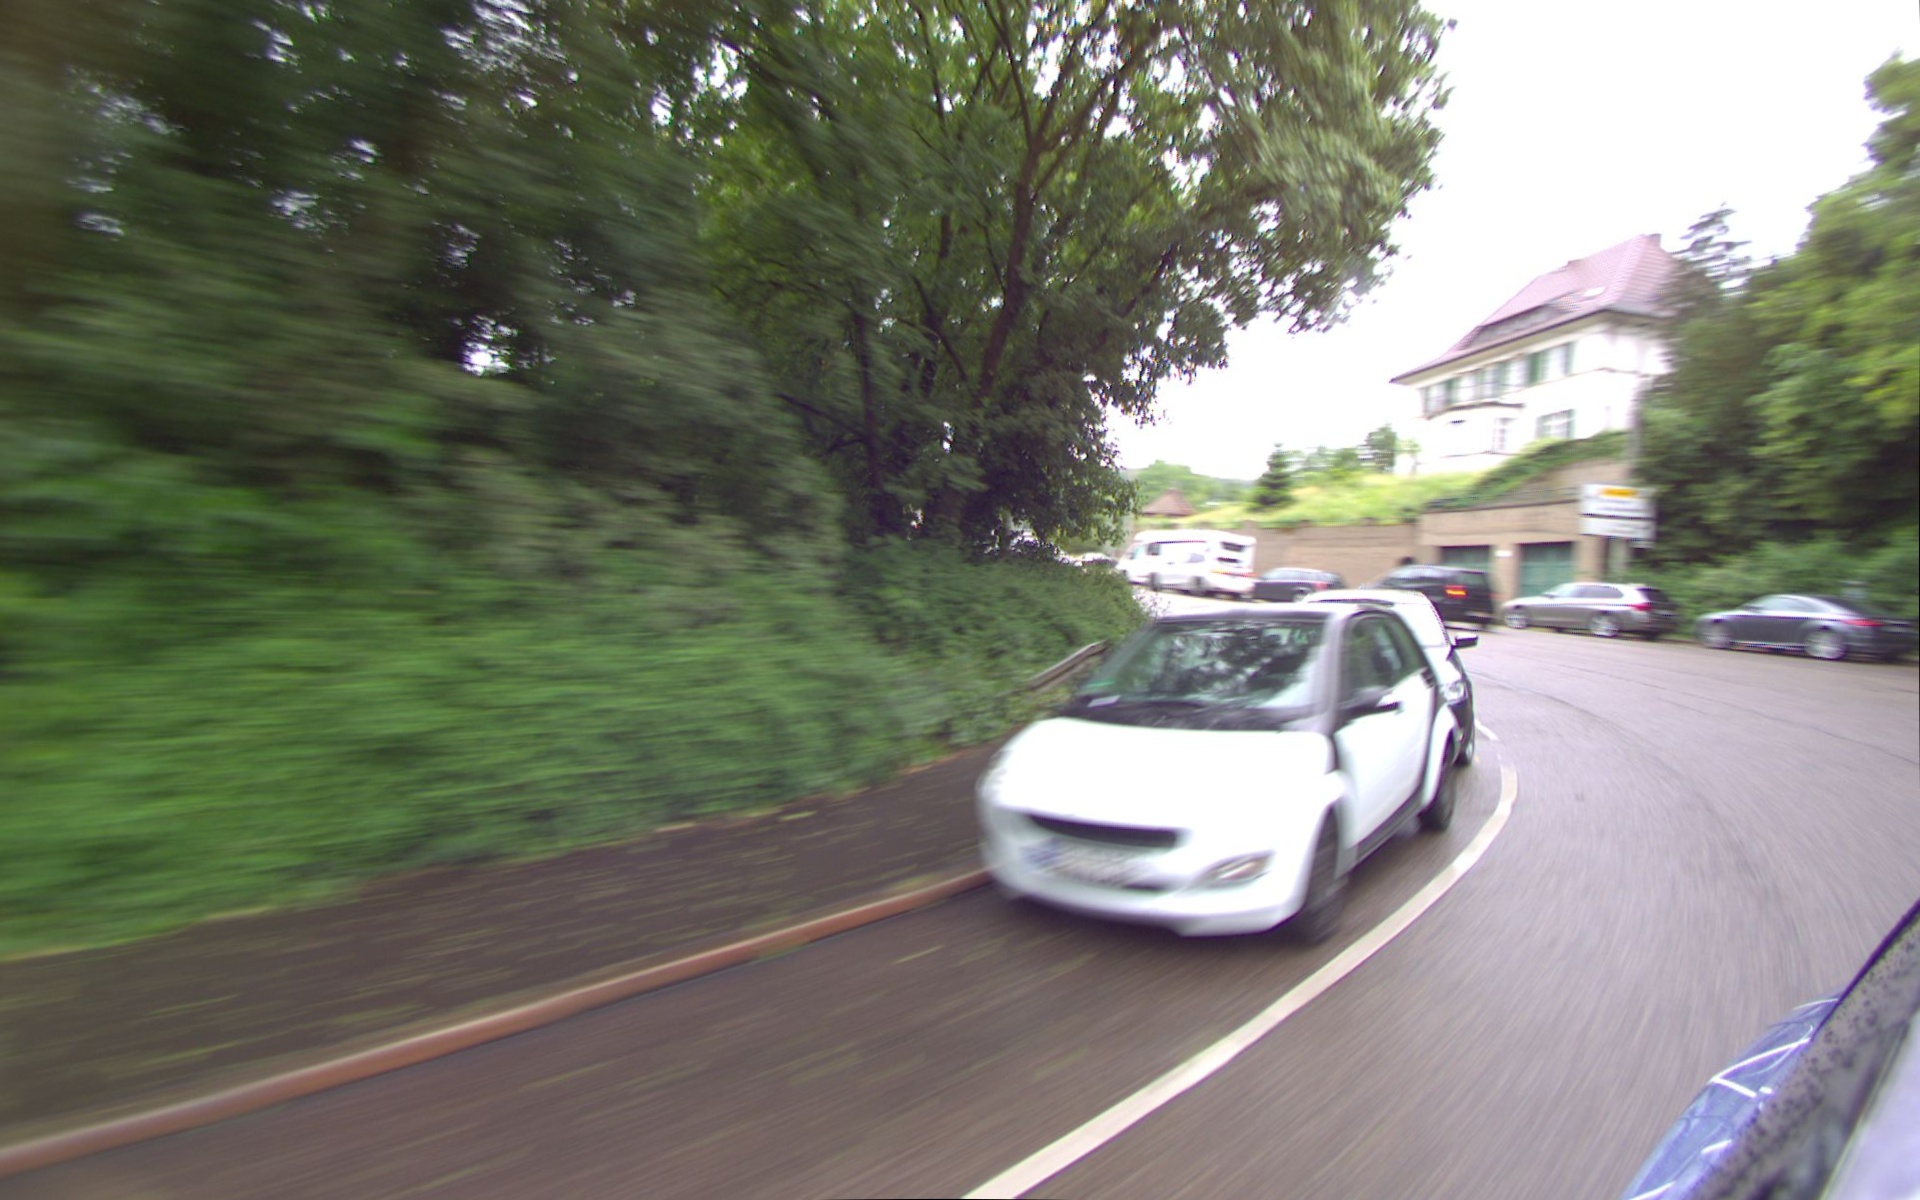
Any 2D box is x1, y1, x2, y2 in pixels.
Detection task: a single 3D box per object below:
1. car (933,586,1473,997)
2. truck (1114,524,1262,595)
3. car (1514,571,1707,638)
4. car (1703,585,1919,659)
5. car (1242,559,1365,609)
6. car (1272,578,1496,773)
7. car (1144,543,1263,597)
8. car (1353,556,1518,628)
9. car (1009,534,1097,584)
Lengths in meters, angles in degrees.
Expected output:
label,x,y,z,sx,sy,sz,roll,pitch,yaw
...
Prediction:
label,x,y,z,sx,sy,sz,roll,pitch,yaw
car,1.639,0.710,5.778,1.655,1.465,3.652,-1,1,37
truck,9.625,-1.811,43.526,2.395,2.710,6.473,3,2,-28
car,17.340,0.074,27.248,1.722,1.429,4.119,3,3,-18
car,18.344,0.415,21.663,1.568,1.315,3.834,2,2,-10
car,12.676,-0.619,37.563,1.808,1.357,4.008,7,2,-30
car,4.156,0.556,10.040,1.661,1.447,3.958,-1,2,23
car,8.380,-1.076,35.239,1.784,1.591,4.091,3,3,-25
car,12.097,-0.268,26.006,1.602,1.507,3.747,4,3,-18
car,3.310,-1.481,36.787,1.798,1.588,3.954,4,1,-16
